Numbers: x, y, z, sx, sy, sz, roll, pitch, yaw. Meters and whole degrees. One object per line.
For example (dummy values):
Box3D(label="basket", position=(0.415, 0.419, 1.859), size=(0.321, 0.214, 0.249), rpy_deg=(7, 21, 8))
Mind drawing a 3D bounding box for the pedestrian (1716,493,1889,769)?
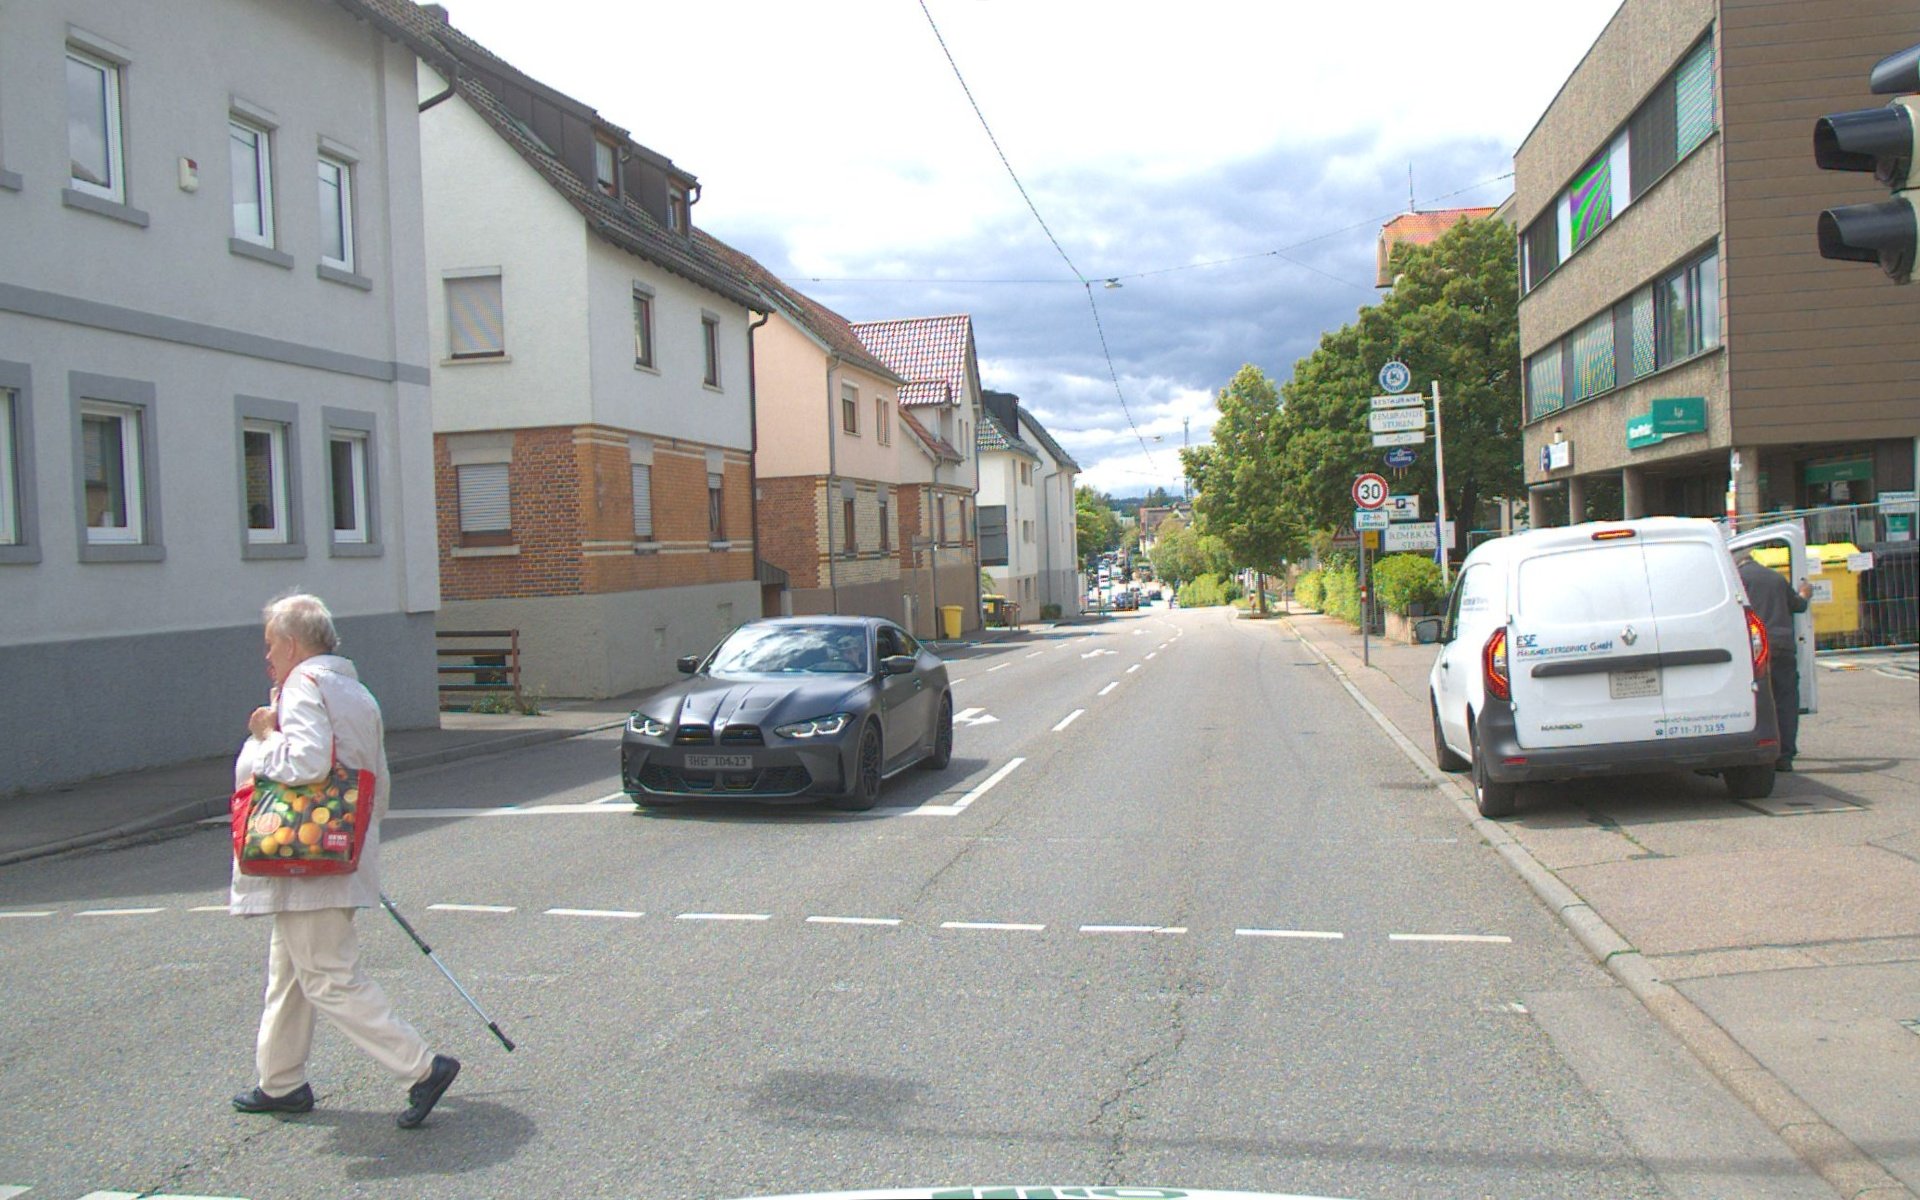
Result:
Box3D(label="pedestrian", position=(5.860, 0.211, 11.544), size=(0.825, 1.834, 0.651), rpy_deg=(-3, 0, 9))

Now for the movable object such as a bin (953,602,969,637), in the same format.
Box3D(label="movable object such as a bin", position=(0.033, 0.642, 55.579), size=(0.422, 1.147, 0.299), rpy_deg=(-3, 0, 8))

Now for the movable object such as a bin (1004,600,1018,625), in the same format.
Box3D(label="movable object such as a bin", position=(2.239, 0.540, 72.605), size=(0.520, 1.048, 0.455), rpy_deg=(-2, 0, 8))

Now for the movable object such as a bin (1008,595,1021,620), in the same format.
Box3D(label="movable object such as a bin", position=(2.406, 0.331, 73.112), size=(0.520, 1.048, 0.455), rpy_deg=(-2, 0, 8))

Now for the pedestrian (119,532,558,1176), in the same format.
Box3D(label="pedestrian", position=(-1.786, 0.665, 4.831), size=(0.853, 1.666, 0.836), rpy_deg=(-1, -1, 21))

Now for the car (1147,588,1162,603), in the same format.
Box3D(label="car", position=(28.185, -0.655, 239.358), size=(1.951, 2.049, 4.002), rpy_deg=(-3, -1, 5))

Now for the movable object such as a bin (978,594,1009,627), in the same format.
Box3D(label="movable object such as a bin", position=(1.442, 0.448, 71.512), size=(1.254, 1.333, 0.817), rpy_deg=(-2, 0, 4))

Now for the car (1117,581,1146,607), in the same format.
Box3D(label="car", position=(14.205, -0.472, 137.170), size=(1.952, 2.049, 4.000), rpy_deg=(-2, 0, 1))

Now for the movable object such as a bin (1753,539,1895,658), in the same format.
Box3D(label="movable object such as a bin", position=(11.870, -0.031, 22.776), size=(1.451, 1.518, 1.077), rpy_deg=(-3, 2, 13))

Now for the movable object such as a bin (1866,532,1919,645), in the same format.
Box3D(label="movable object such as a bin", position=(12.950, -0.172, 22.540), size=(0.763, 1.465, 1.019), rpy_deg=(-3, 2, 13))

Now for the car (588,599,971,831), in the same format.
Box3D(label="car", position=(-1.265, 0.815, 13.850), size=(1.951, 1.482, 4.621), rpy_deg=(-3, 0, 9))

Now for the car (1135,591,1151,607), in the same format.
Box3D(label="car", position=(24.746, -0.077, 223.868), size=(1.951, 2.049, 4.002), rpy_deg=(-3, -1, 5))

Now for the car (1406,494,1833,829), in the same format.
Box3D(label="car", position=(4.515, 0.364, 12.095), size=(1.871, 1.825, 4.495), rpy_deg=(-6, -1, 10))
